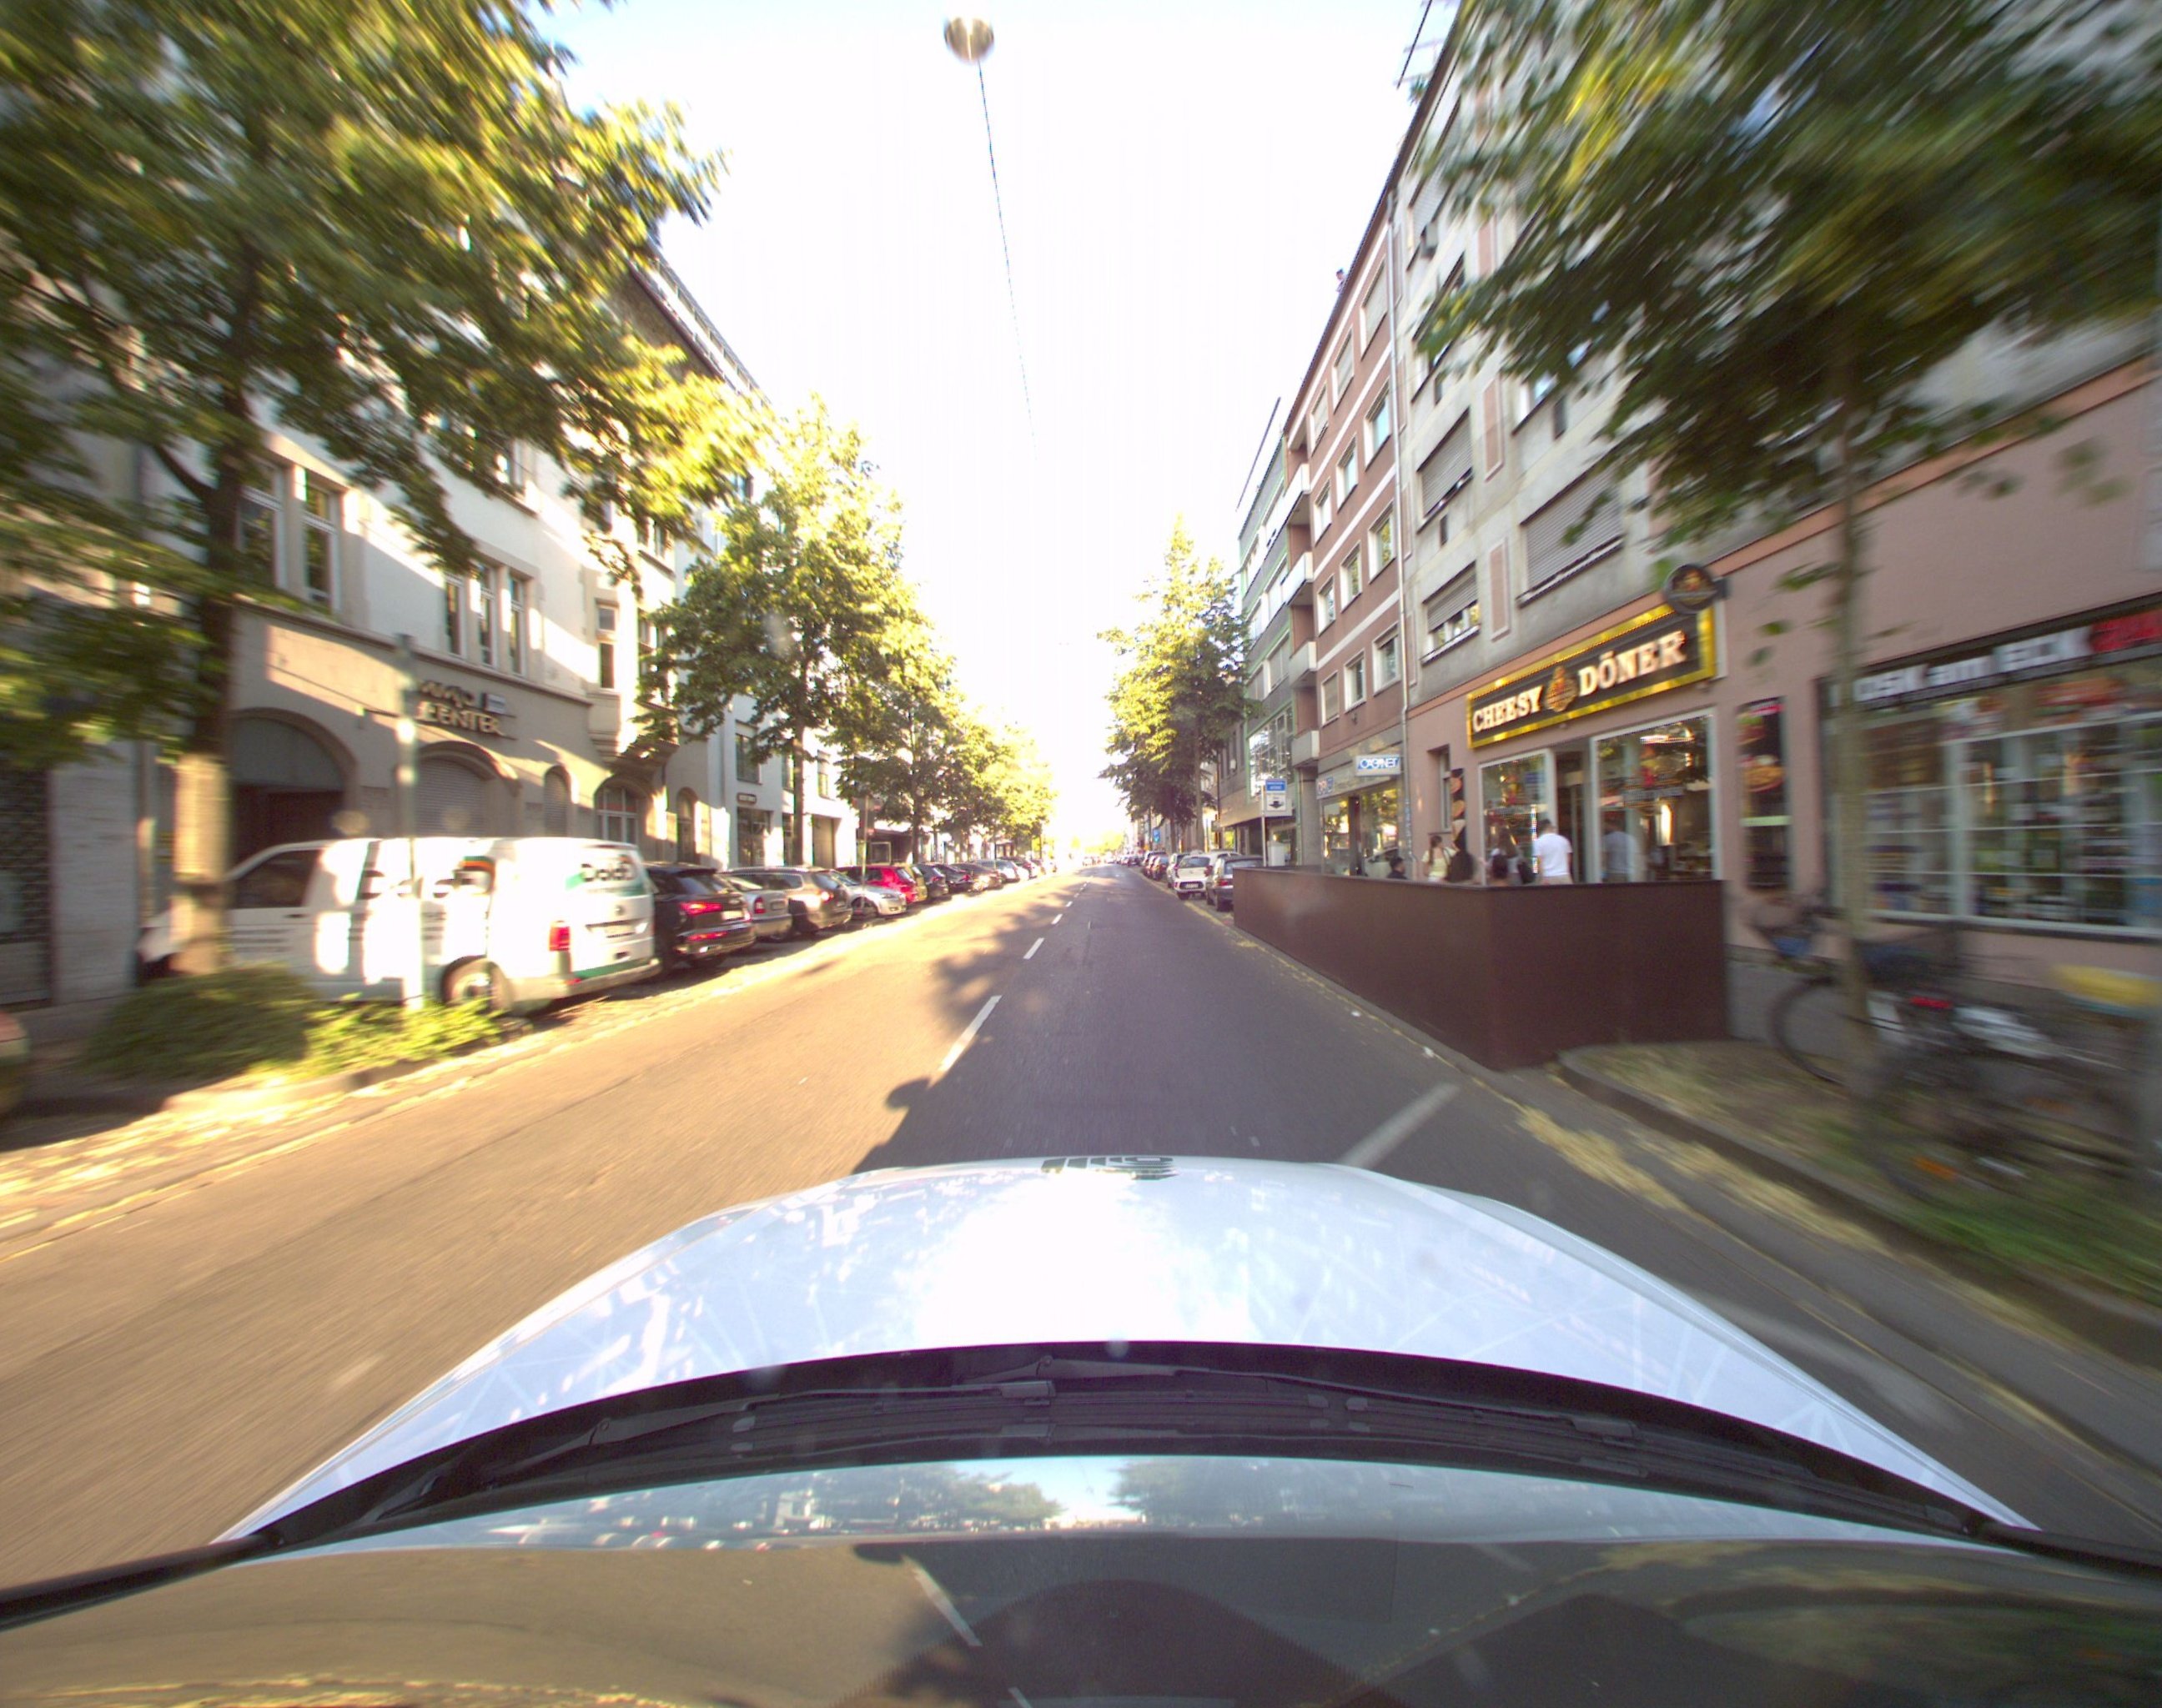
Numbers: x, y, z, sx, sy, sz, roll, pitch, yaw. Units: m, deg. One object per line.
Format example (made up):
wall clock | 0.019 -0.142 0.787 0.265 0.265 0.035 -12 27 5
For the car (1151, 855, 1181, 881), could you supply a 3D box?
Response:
car | 4.957 0.797 47.588 1.507 1.406 3.839 -1 -1 3

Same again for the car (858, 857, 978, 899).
car | -6.630 0.972 33.435 4.425 1.568 1.920 -1 -1 2

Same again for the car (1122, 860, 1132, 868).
car | 7.009 1.529 124.916 1.507 1.263 3.306 -1 -1 3

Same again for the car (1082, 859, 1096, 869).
car | 1.334 1.557 133.510 1.916 1.571 3.312 -2 -1 9

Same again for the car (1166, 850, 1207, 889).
car | 4.533 0.657 35.455 1.507 1.578 3.220 -1 -1 3

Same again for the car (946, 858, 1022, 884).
car | -6.012 1.033 50.923 4.425 1.523 1.920 -1 -1 2

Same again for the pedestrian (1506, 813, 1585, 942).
pedestrian | 6.767 0.330 11.902 0.693 1.805 0.894 -2 0 10

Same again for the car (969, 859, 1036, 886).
car | -5.498 1.279 57.318 4.425 1.759 1.920 -1 -1 2

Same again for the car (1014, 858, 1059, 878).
car | -4.589 1.410 84.642 4.425 1.959 1.920 -1 -1 2

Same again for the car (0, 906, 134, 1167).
car | -7.789 1.028 4.109 3.773 1.392 2.046 -1 -1 4

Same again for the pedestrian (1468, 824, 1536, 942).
pedestrian | 6.258 0.417 12.144 0.627 1.680 0.894 -2 0 10

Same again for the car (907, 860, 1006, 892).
car | -6.054 1.058 39.947 4.425 1.449 1.920 -1 -1 2

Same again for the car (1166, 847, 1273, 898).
car | 4.708 0.575 27.388 1.654 1.588 3.846 -2 0 44

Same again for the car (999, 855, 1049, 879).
car | -5.371 1.210 76.682 4.425 2.199 1.920 -1 -1 2

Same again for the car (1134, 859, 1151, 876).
car | 5.814 1.245 77.538 1.507 1.561 3.776 -1 -1 3

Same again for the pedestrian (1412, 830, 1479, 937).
pedestrian | 5.761 0.454 12.918 0.791 1.625 0.915 -2 0 14

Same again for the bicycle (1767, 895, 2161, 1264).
bicycle | 3.576 0.692 2.668 1.935 1.074 0.710 -2 0 33

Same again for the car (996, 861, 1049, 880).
car | -5.119 1.461 71.529 4.425 1.578 1.920 -1 -1 2

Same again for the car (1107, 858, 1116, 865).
car | 6.480 1.559 173.546 1.714 1.475 3.306 -2 -1 3

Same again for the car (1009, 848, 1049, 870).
car | -6.045 0.595 94.811 4.425 2.435 1.920 -1 -1 2

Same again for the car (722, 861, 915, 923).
car | -6.808 0.975 21.424 4.425 1.484 1.810 -1 -1 2

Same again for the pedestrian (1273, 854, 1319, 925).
pedestrian | 4.331 0.710 16.447 0.723 1.378 0.781 -2 0 2

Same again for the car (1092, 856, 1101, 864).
car | 3.174 1.289 167.380 1.745 1.540 3.306 -2 -1 3

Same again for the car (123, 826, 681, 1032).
car | -7.266 0.758 9.105 4.555 1.962 1.991 -1 -1 1

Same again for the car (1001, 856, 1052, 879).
car | -4.977 1.233 74.354 4.425 2.015 1.920 -1 -1 2

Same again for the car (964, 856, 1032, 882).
car | -5.581 1.003 55.220 4.287 1.598 1.920 -1 -1 2

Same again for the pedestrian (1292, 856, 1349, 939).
pedestrian | 4.096 0.726 13.986 0.723 1.378 0.781 -2 0 2

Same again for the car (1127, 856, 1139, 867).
car | 6.816 0.985 106.805 1.507 1.276 3.306 -1 -1 3

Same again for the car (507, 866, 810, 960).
car | -7.341 0.997 14.451 4.425 1.467 1.780 -1 -1 2

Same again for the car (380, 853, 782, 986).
car | -7.050 0.883 11.858 4.553 1.698 2.061 -1 -1 2

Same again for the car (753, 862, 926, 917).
car | -6.949 0.994 23.734 4.425 1.458 1.860 -1 -1 2

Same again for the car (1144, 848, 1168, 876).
car | 5.398 0.581 59.118 1.507 1.864 4.238 -1 -1 3

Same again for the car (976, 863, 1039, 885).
car | -5.410 1.476 60.436 4.425 1.499 1.920 -1 -1 2

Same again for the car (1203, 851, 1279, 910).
car | 4.275 0.668 22.246 1.536 1.433 3.681 -1 0 3

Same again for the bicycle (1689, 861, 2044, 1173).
bicycle | 3.767 0.647 4.126 0.593 1.178 1.856 -2 0 21

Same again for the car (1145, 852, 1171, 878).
car | 4.985 0.717 52.814 1.507 1.561 3.516 -1 -1 3

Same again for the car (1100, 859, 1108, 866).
car | 5.286 1.987 187.342 1.563 1.506 3.306 -2 -1 3

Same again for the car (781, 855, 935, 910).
car | -7.186 0.892 26.499 4.425 1.638 1.860 -1 -1 2

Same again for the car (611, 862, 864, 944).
car | -6.984 0.974 16.872 4.425 1.506 1.845 -1 -1 2

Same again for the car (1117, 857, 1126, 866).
car | 7.971 1.471 159.199 1.745 1.540 3.306 -2 -1 3

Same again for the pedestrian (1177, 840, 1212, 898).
pedestrian | 3.882 0.505 27.909 0.916 1.926 1.014 0 -1 -8

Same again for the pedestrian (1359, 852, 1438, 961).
pedestrian | 4.212 0.672 10.851 0.723 1.378 0.781 -2 0 2

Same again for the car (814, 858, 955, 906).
car | -6.849 0.966 28.723 4.425 1.568 1.920 -1 -1 2
